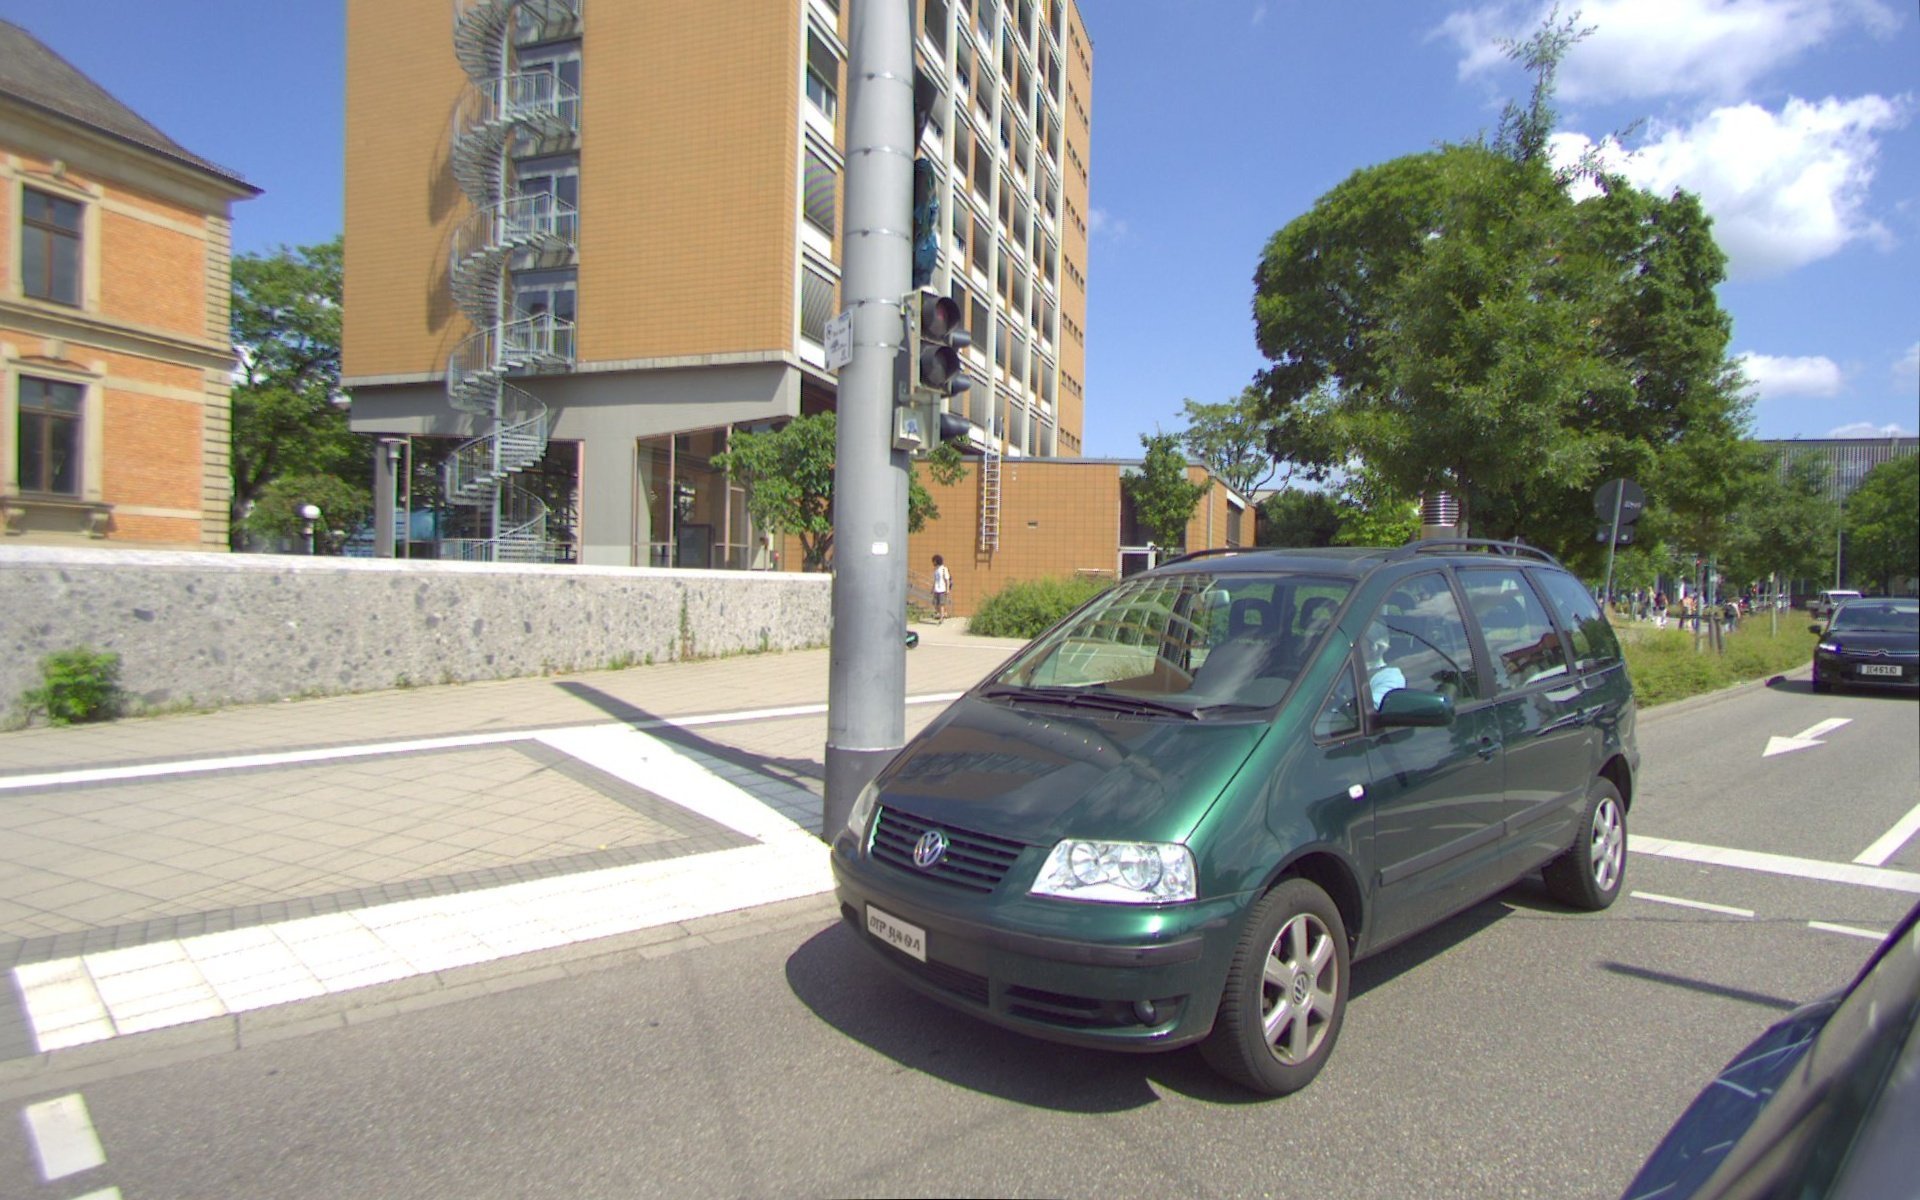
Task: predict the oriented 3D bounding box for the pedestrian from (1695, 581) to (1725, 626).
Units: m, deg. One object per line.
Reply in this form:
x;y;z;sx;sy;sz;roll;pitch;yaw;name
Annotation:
32.143;0.143;43.390;0.751;1.843;0.773;5;3;26;pedestrian

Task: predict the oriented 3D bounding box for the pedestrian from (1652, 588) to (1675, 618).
39.376;0.158;56.619;0.742;1.616;0.877;3;1;16;pedestrian

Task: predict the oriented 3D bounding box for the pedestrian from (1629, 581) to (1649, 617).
34.115;-0.052;50.847;0.746;1.774;0.603;3;1;30;pedestrian

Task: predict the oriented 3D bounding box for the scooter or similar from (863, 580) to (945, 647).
-1.010;0.239;18.273;1.423;1.138;0.231;2;0;-4;scooter or similar

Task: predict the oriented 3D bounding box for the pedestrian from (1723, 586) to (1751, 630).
29.758;0.301;38.763;0.761;1.645;0.651;-1;4;-43;pedestrian

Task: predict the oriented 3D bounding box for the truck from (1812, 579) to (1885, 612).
66.847;-0.315;76.261;2.437;2.330;5.768;-1;0;24;truck

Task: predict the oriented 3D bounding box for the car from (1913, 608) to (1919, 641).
44.020;1.119;44.762;1.738;1.523;4.470;-1;0;31;car

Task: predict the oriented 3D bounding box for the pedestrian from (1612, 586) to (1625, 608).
55.230;-0.256;84.866;0.660;1.768;0.606;3;1;18;pedestrian

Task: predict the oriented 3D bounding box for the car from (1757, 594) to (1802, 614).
82.901;0.339;102.438;1.862;1.918;4.843;1;1;17;car

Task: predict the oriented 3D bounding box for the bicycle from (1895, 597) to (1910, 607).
103.718;0.185;111.385;0.376;1.056;1.665;1;1;11;bicycle

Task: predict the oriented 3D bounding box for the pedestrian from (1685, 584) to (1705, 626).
29.262;0.185;40.310;0.584;1.646;0.719;0;0;32;pedestrian

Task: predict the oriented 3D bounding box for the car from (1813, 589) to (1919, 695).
16.129;0.629;17.403;4.447;1.643;1.859;-1;0;-45;car

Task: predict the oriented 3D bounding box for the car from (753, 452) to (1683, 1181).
1.469;0.504;4.527;4.369;1.745;1.798;-1;0;-40;car

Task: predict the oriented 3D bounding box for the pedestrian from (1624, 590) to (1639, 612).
56.145;0.055;84.618;0.742;1.800;0.877;3;1;18;pedestrian

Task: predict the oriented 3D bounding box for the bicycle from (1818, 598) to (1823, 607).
106.795;0.286;125.636;0.381;1.121;1.643;1;1;44;bicycle

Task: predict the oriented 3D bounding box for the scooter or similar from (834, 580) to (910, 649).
-1.525;0.253;17.518;1.257;1.138;0.231;2;0;-4;scooter or similar

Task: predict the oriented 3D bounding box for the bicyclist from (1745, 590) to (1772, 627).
36.939;0.399;46.809;0.824;1.620;0.573;4;3;31;bicyclist

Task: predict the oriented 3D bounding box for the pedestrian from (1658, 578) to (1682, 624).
28.619;0.039;40.811;0.752;1.844;0.631;0;0;32;pedestrian

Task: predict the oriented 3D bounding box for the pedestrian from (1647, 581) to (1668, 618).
34.891;-0.030;50.626;0.746;1.825;0.603;3;1;30;pedestrian

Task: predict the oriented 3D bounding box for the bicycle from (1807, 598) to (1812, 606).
107.480;0.243;128.067;0.328;1.030;1.643;1;1;44;bicycle

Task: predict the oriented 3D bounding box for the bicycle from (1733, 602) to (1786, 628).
36.957;0.686;46.807;1.801;1.062;0.585;4;3;31;bicycle

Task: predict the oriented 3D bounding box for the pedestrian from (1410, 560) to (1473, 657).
8.259;0.125;17.351;0.748;1.609;0.756;-1;1;-43;pedestrian

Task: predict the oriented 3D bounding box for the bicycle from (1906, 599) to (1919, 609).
103.433;0.481;109.848;0.371;1.056;1.413;1;1;9;bicycle

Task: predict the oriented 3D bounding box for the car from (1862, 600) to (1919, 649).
29.956;0.734;32.162;1.759;1.435;4.300;-1;0;40;car
